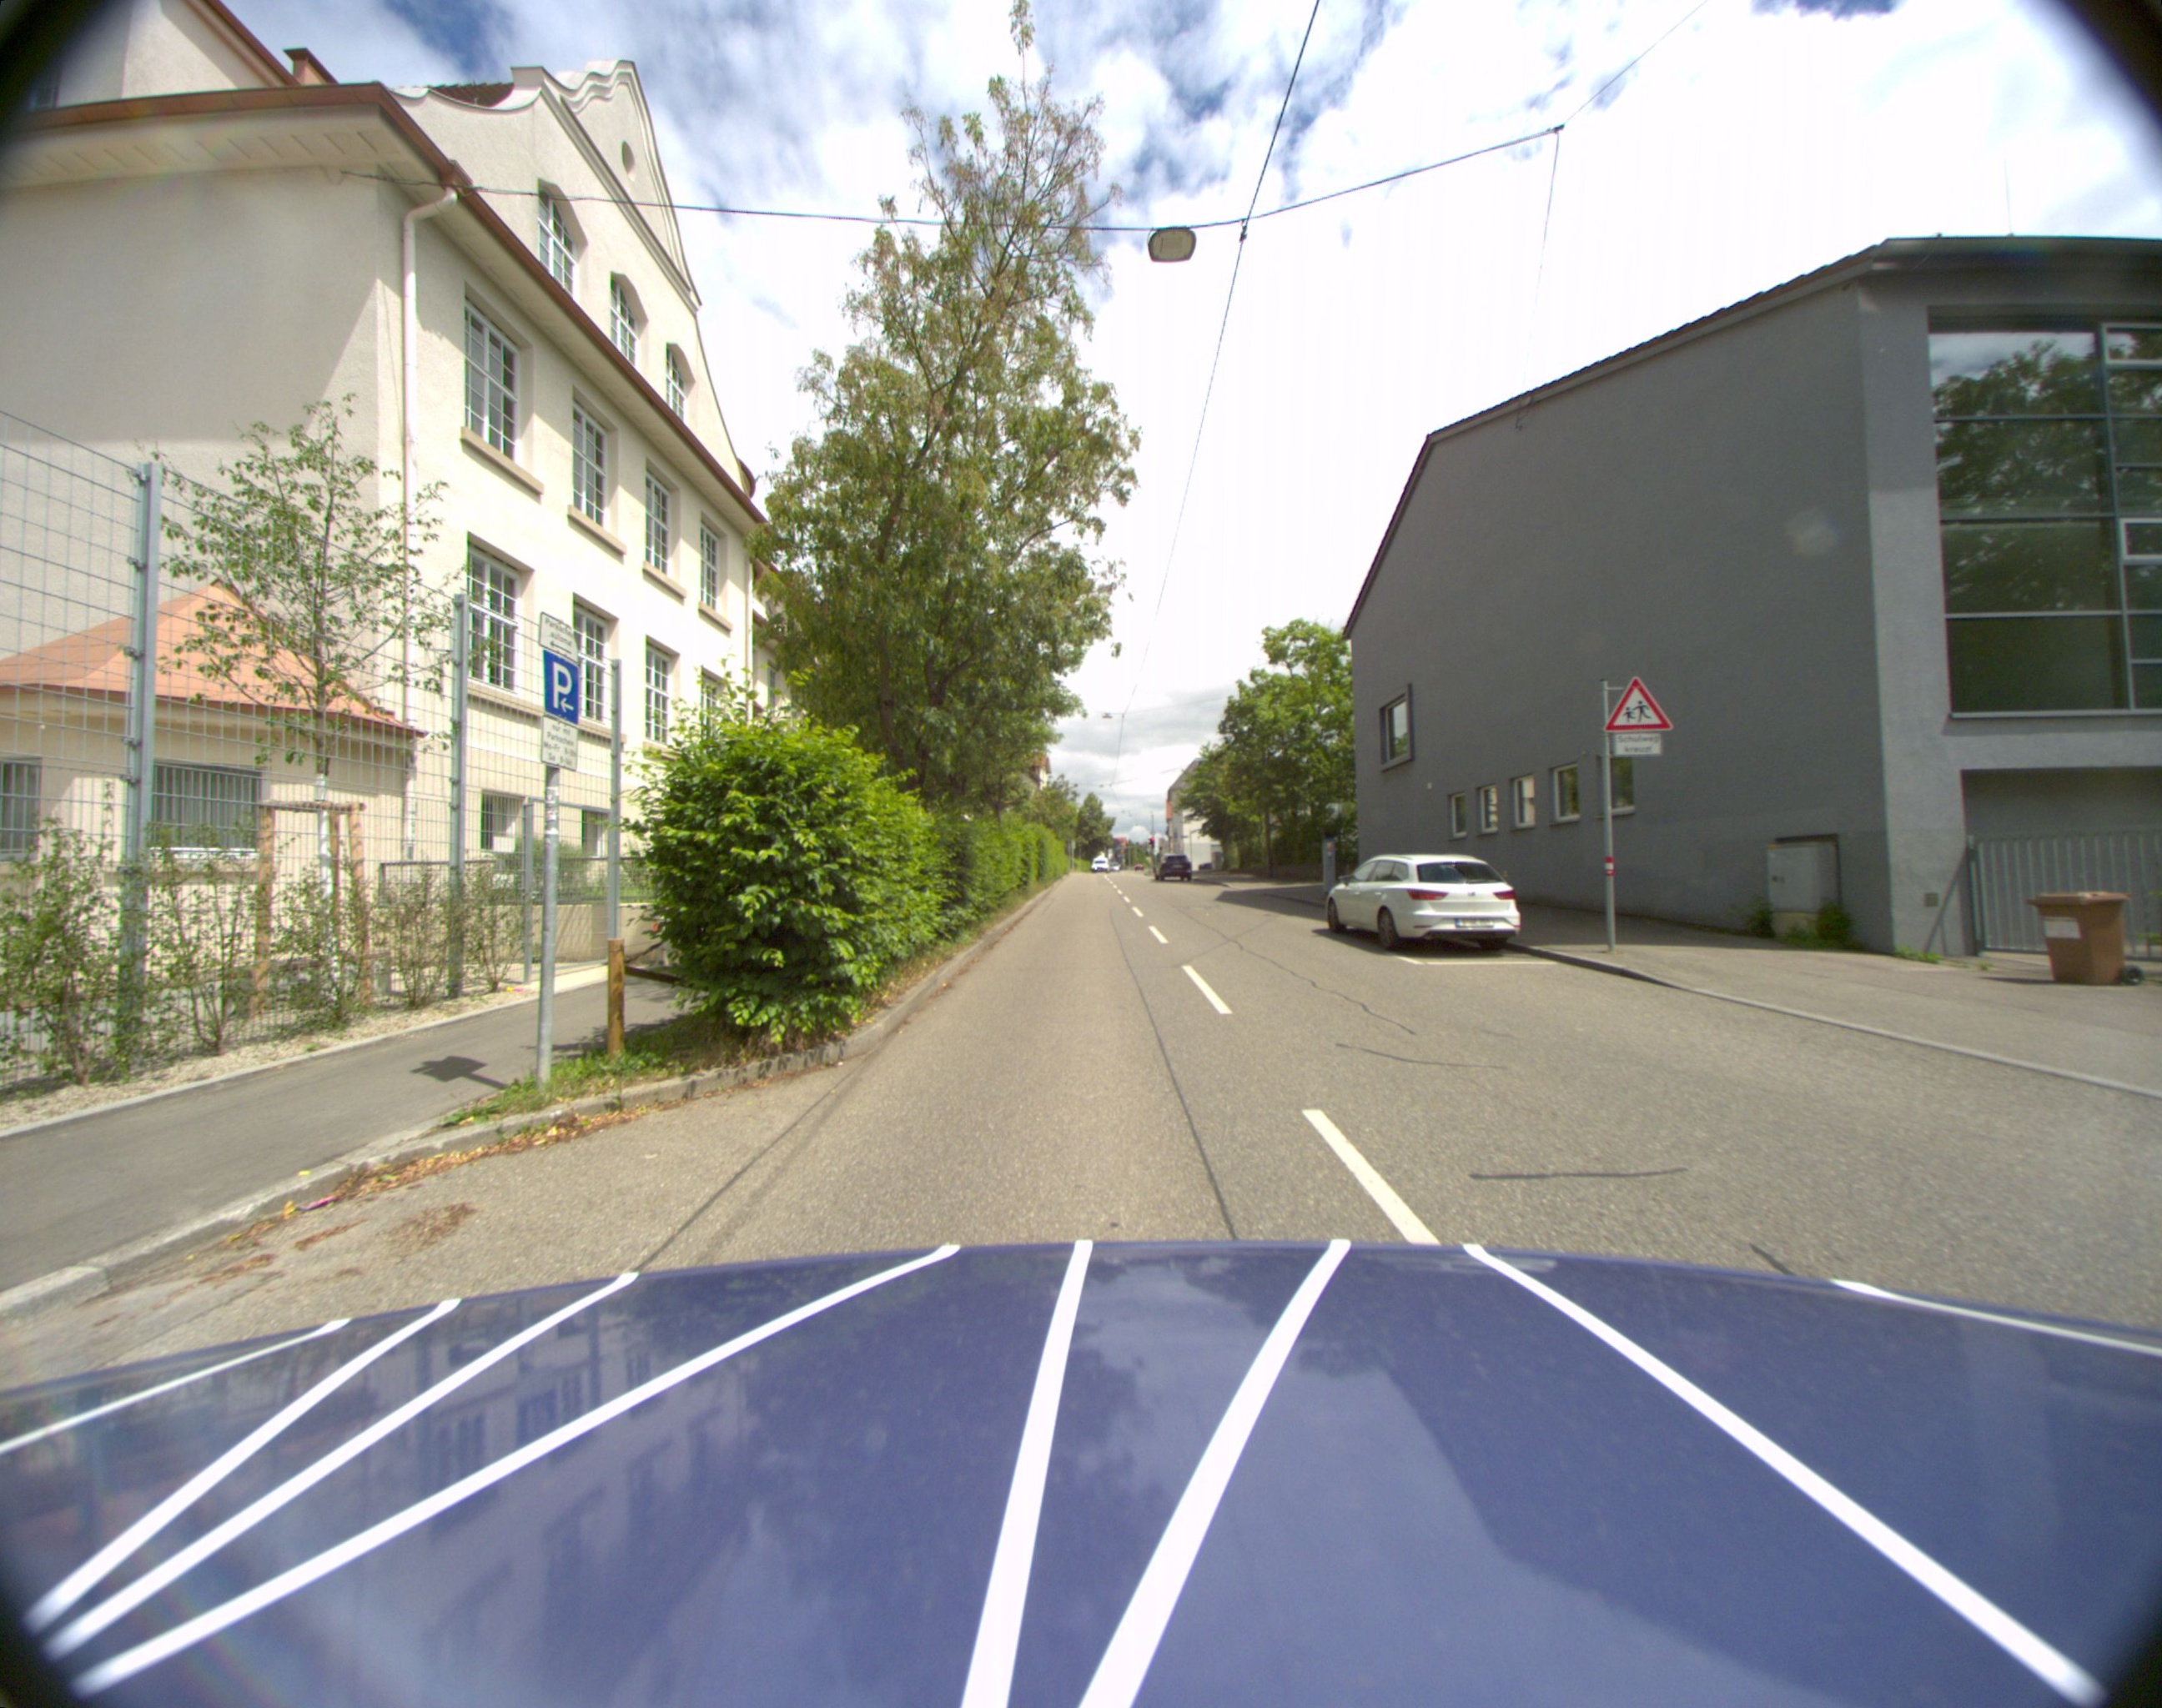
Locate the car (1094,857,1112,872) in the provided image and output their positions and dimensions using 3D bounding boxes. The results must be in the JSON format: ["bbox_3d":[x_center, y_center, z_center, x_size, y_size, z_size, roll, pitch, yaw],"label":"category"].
[{"bbox_3d":[2.654,1.201,89.306,1.893,1.717,4.295,-1,-1,4],"label":"car"}]

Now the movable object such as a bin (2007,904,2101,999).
[{"bbox_3d":[9.995,0.990,7.813,0.455,0.923,0.399,0,0,0],"label":"movable object such as a bin"}]

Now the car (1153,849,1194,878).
[{"bbox_3d":[5.516,0.588,45.896,1.800,1.600,4.645,-1,-1,-1],"label":"car"}]

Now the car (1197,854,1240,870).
[{"bbox_3d":[13.862,0.846,76.873,3.997,1.467,1.859,-1,-3,1],"label":"car"}]

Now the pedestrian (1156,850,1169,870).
[{"bbox_3d":[6.963,0.512,64.718,0.774,1.588,0.670,-2,0,-35],"label":"pedestrian"}]

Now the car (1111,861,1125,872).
[{"bbox_3d":[5.654,1.951,115.914,1.794,1.477,4.003,-3,-2,6],"label":"car"}]

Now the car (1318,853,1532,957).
[{"bbox_3d":[5.369,0.706,12.451,1.701,1.382,3.865,-2,0,-1],"label":"car"}]

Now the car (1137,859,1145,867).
[{"bbox_3d":[13.420,2.016,169.824,1.794,1.477,4.003,-3,-2,6],"label":"car"}]
